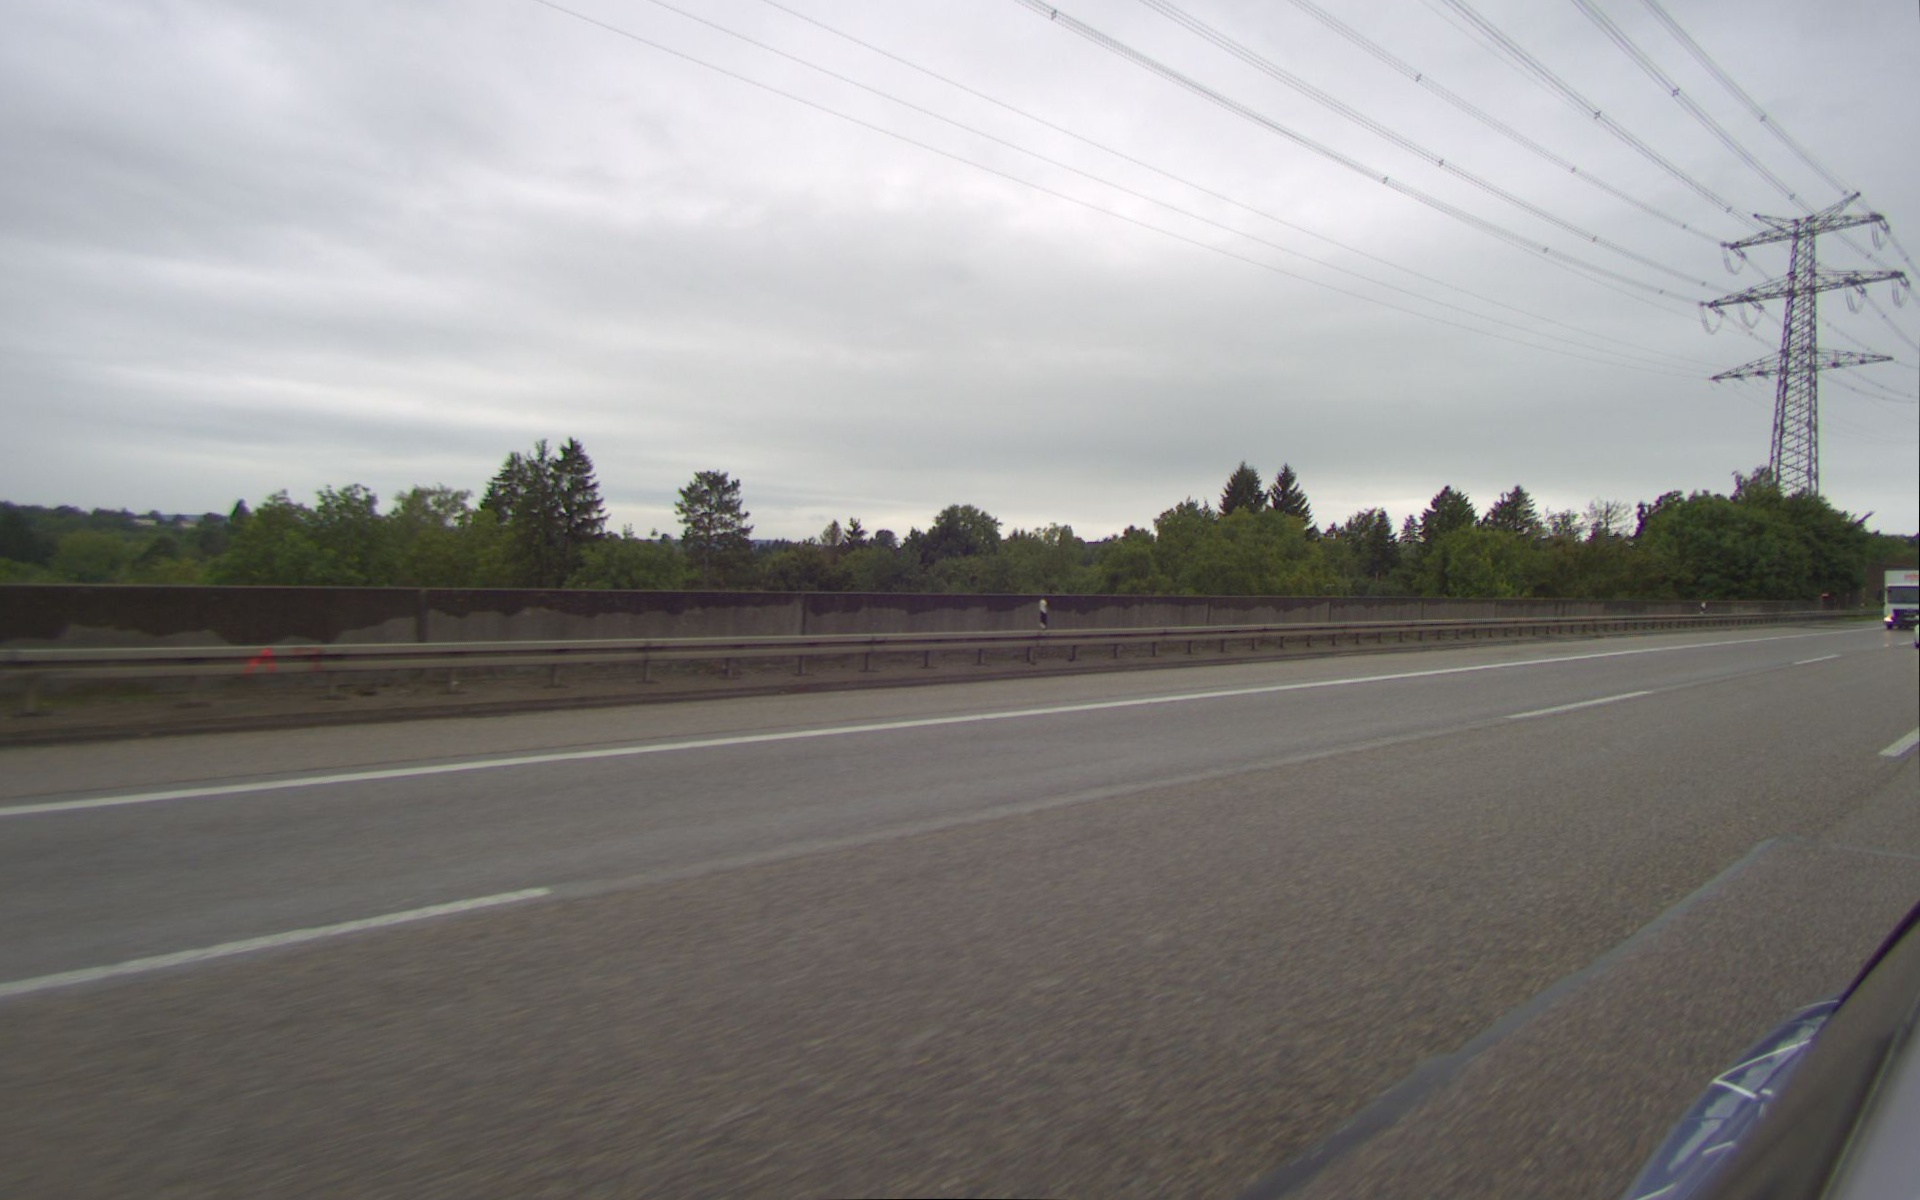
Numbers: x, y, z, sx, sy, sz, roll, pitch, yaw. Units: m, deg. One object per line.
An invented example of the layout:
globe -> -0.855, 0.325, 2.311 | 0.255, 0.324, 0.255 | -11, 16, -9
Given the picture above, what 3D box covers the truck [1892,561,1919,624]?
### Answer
truck -> 54.193, -0.383, 56.346 | 6.809, 3.386, 2.647 | 0, 0, -41
